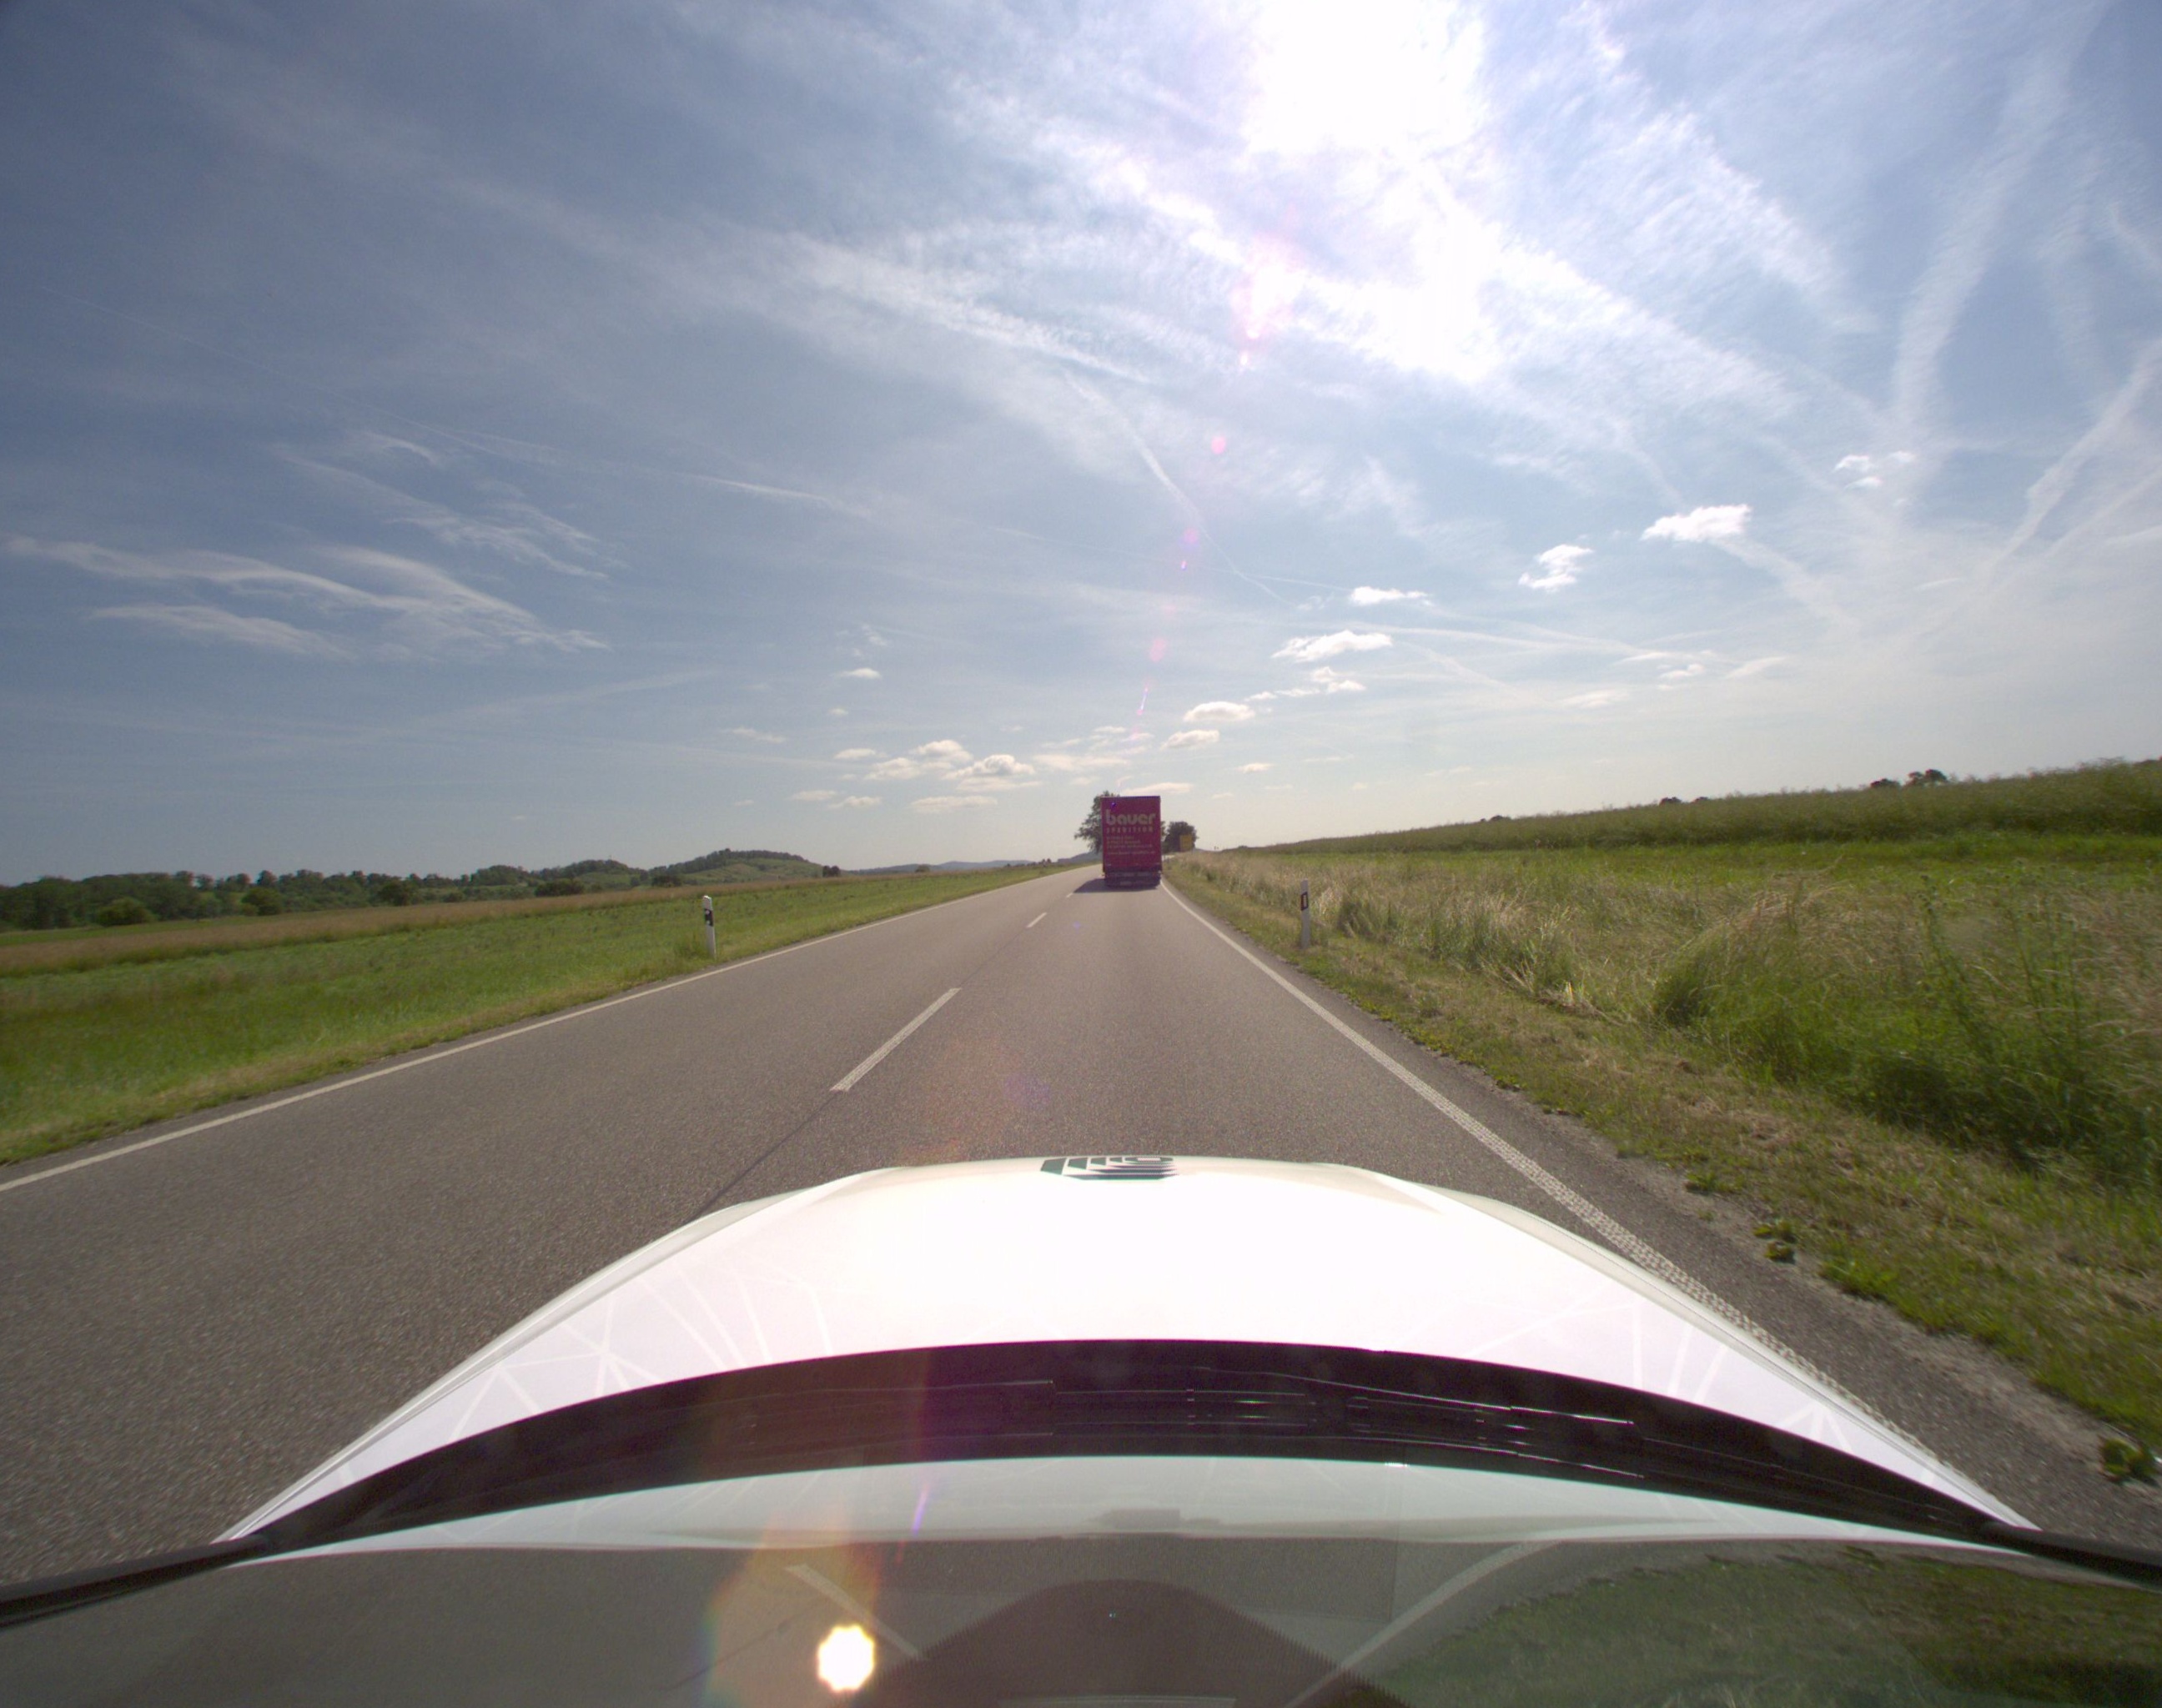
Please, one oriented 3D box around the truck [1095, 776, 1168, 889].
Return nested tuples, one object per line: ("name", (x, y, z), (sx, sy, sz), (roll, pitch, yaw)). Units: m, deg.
("truck", (2.319, -0.958, 38.945), (2.963, 4.713, 9.372), (-1, 1, 2))
